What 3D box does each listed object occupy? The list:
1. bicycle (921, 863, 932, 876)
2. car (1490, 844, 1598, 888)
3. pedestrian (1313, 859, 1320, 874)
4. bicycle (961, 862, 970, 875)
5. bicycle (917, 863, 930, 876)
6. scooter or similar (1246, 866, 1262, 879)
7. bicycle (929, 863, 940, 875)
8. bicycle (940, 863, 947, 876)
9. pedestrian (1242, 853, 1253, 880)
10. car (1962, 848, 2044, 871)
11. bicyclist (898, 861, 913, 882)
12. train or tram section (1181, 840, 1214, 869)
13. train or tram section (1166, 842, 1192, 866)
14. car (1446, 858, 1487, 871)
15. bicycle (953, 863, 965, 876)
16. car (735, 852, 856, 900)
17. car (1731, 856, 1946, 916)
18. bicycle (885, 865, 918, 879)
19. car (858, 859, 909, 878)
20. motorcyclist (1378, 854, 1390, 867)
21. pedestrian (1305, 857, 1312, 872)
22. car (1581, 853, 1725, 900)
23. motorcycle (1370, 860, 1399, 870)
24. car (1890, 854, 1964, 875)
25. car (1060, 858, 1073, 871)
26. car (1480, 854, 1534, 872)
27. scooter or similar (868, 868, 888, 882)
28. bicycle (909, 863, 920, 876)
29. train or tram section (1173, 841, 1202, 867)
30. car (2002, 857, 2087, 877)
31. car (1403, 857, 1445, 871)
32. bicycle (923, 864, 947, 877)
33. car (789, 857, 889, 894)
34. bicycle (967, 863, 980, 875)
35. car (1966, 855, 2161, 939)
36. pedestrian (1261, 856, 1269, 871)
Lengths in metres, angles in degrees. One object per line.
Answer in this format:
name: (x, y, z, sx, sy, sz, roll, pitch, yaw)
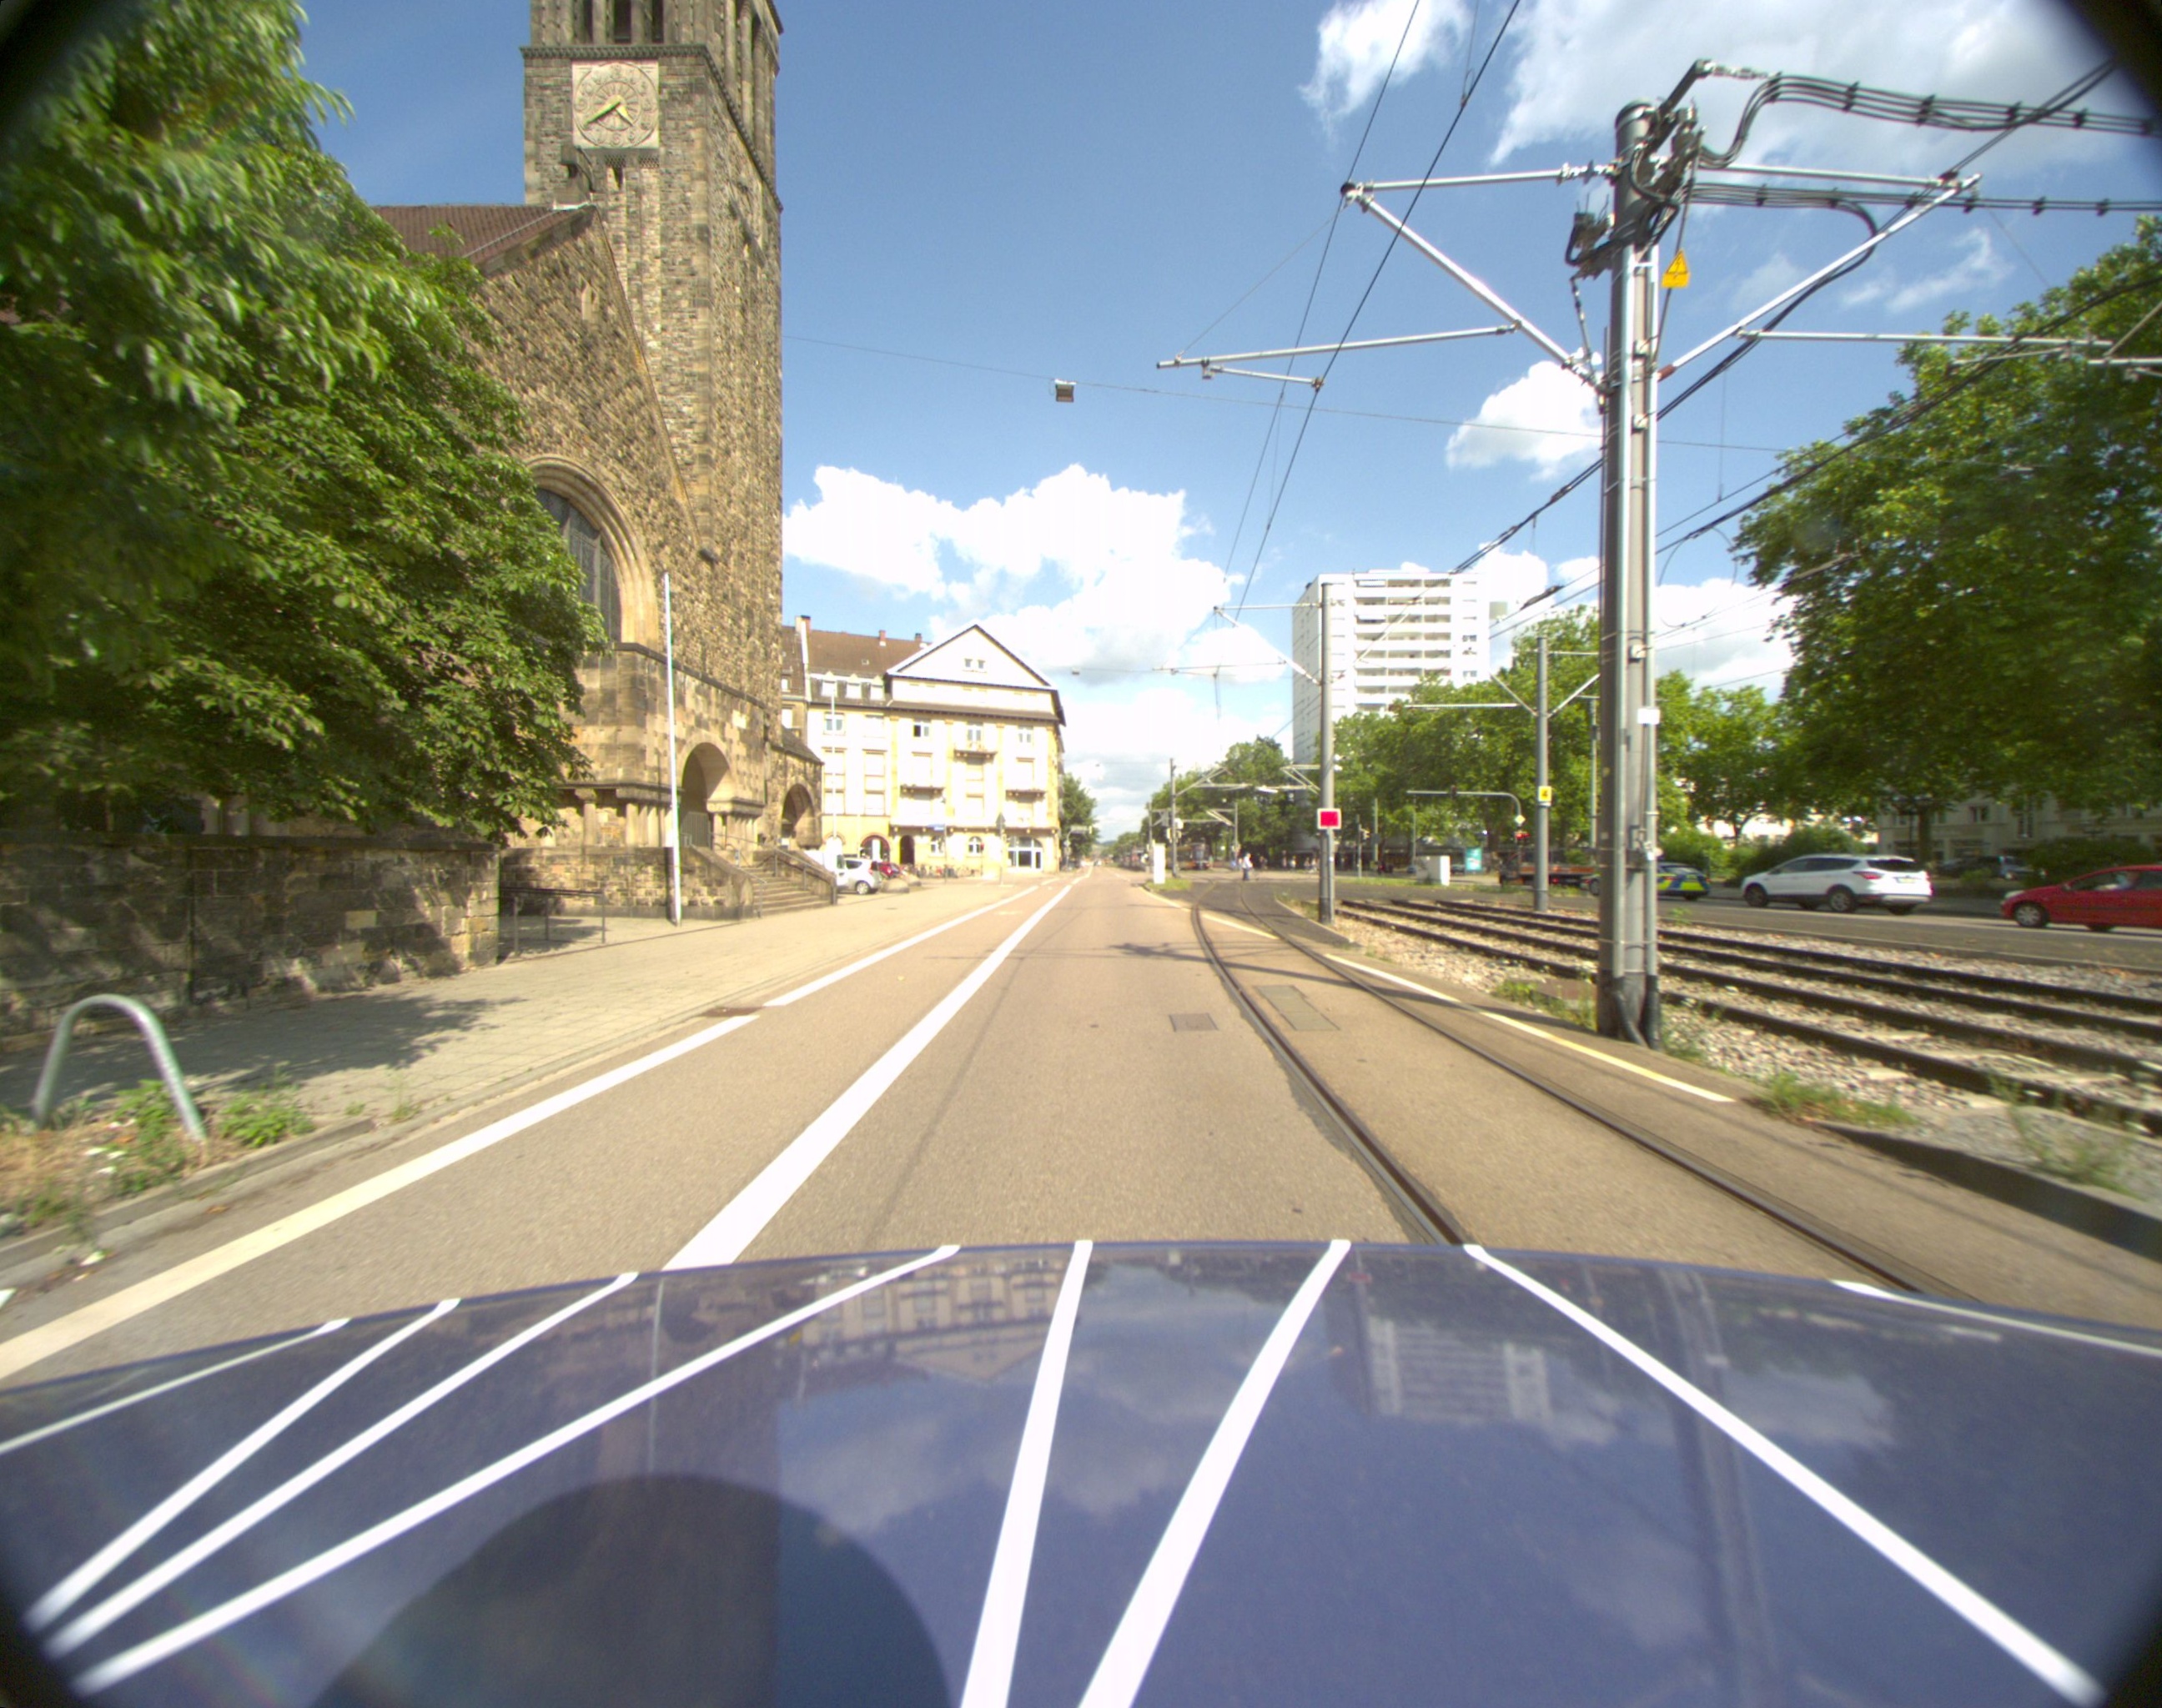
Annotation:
bicycle: (-13.671, 1.355, 67.278, 0.541, 1.013, 1.924, 0, 2, -24)
car: (22.417, 0.614, 37.121, 2.080, 1.974, 5.337, 0, -2, 1)
pedestrian: (26.774, 1.454, 86.304, 0.671, 1.693, 0.648, 0, 0, 4)
bicycle: (-10.476, 1.302, 68.619, 0.610, 1.013, 1.874, 0, 2, -15)
bicycle: (-13.663, 1.322, 65.972, 0.541, 1.013, 1.923, -1, 3, -28)
scooter or similar: (10.793, 1.123, 47.386, 0.840, 0.799, 0.553, 0, 0, -3)
bicycle: (-13.049, 1.327, 67.586, 0.541, 1.013, 1.924, 0, 2, -24)
bicycle: (-12.045, 1.370, 66.676, 0.540, 1.013, 1.926, 0, 2, -10)
pedestrian: (10.352, 0.772, 47.356, 0.528, 1.722, 0.557, 0, 0, -4)
car: (69.200, 0.443, 57.067, 3.998, 1.674, 1.999, 0, 0, -4)
bicyclist: (-12.390, 1.225, 53.606, 0.923, 1.494, 0.651, 0, -2, -28)
train or tram section: (15.108, 0.052, 99.206, 2.803, 3.540, 11.377, 0, 0, 1)
train or tram section: (15.647, 0.000, 122.120, 2.813, 3.540, 12.157, 0, 0, 1)
car: (43.776, 1.162, 86.272, 4.080, 1.481, 1.858, 0, 0, -20)
bicycle: (-10.750, 1.352, 67.001, 0.602, 1.013, 1.877, 1, 2, 2)
car: (-11.137, 0.852, 29.833, 4.013, 1.813, 1.863, 0, 0, -1)
car: (22.125, 0.878, 22.528, 1.764, 1.597, 4.680, 0, -1, 1)
bicycle: (-12.648, 1.261, 53.464, 2.137, 0.983, 0.651, 0, 0, -28)
car: (-16.741, 1.203, 64.428, 3.988, 1.433, 1.972, 2, 2, 30)
motorcyclist: (29.497, 0.645, 73.913, 0.976, 1.210, 0.699, 0, 0, 7)
pedestrian: (26.448, 1.185, 88.408, 0.671, 1.693, 0.648, 0, 0, 4)
car: (22.349, 0.822, 30.032, 1.871, 1.642, 5.154, 1, 0, 1)
motorcycle: (29.514, 1.037, 73.915, 2.502, 0.971, 0.699, 0, 0, 7)
car: (69.078, 0.812, 62.053, 4.081, 1.650, 1.851, 0, 0, -2)
car: (-2.123, 1.522, 113.509, 1.851, 1.779, 4.000, 2, 0, 0)
car: (44.341, 0.916, 79.098, 5.176, 1.880, 1.997, -1, 1, -19)
scooter or similar: (-14.014, 1.459, 52.406, 1.133, 0.971, 0.888, 0, 0, -28)
bicycle: (-14.594, 1.329, 66.529, 0.541, 1.013, 1.924, 0, 2, -24)
train or tram section: (15.395, -0.013, 110.445, 2.813, 3.540, 11.182, 0, 0, 1)
car: (68.740, 0.918, 54.256, 3.942, 1.346, 1.868, 0, 0, -4)
car: (37.806, 1.122, 83.804, 4.002, 1.481, 1.858, 0, 0, -16)
bicycle: (-12.461, 1.422, 64.877, 1.932, 1.013, 0.538, -1, 3, -40)
car: (-10.495, 0.938, 33.156, 3.776, 1.538, 1.798, 0, 0, 0)
bicycle: (-9.728, 1.323, 68.874, 0.611, 1.013, 1.872, 0, 2, -27)
car: (21.428, 0.856, 15.589, 1.716, 1.597, 4.145, 0, -2, 1)
pedestrian: (20.802, 1.094, 85.901, 0.671, 1.693, 0.648, 0, 0, 4)
